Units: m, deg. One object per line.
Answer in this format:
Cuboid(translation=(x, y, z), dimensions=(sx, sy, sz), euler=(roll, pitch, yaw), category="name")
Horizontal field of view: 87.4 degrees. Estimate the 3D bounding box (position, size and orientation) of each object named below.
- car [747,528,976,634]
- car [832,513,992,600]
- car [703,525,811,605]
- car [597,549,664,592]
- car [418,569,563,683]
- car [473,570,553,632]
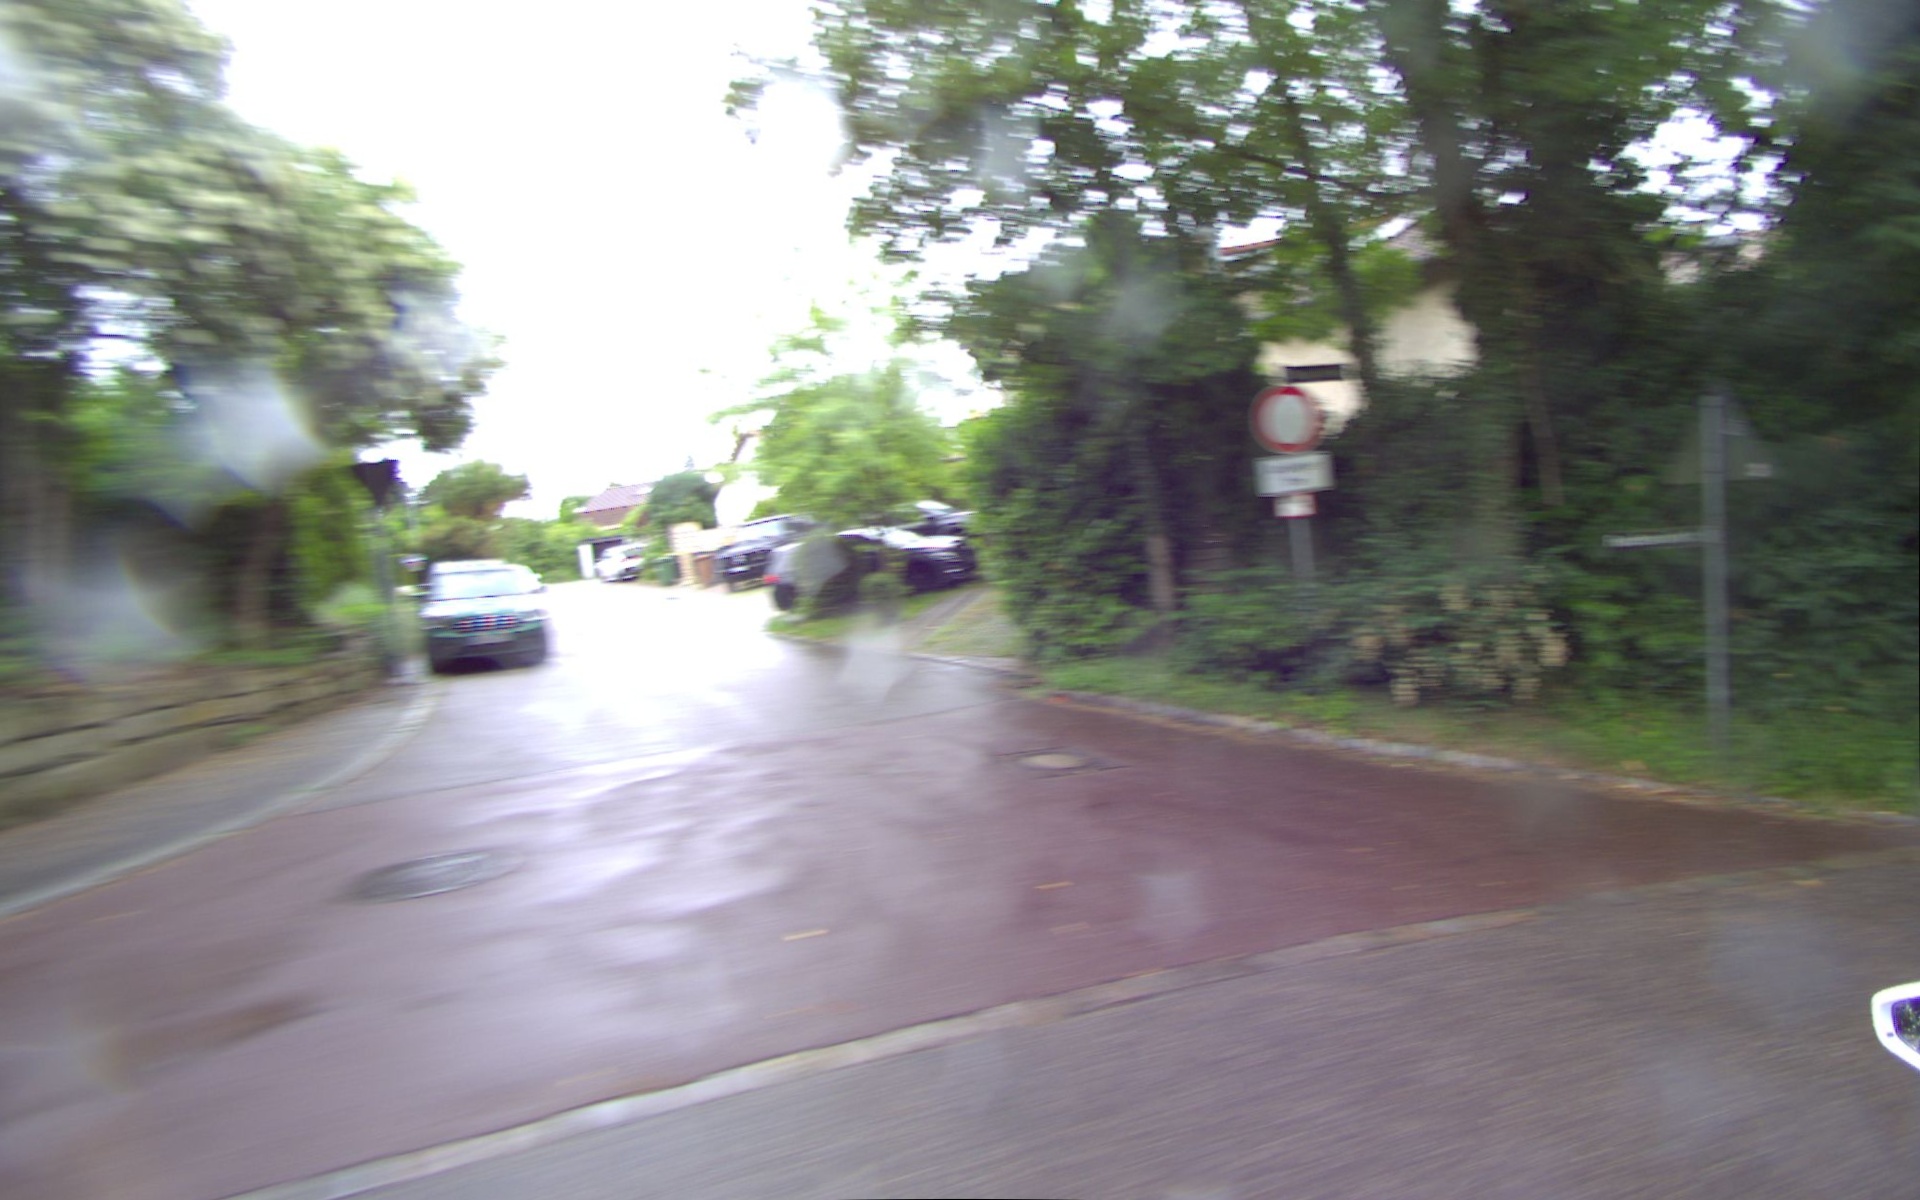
Cuboid(translation=(-1.857, -0.380, 19.419), dimensions=(3.922, 1.436, 1.699), euler=(-7, 6, 15), category="car")
Cuboid(translation=(-1.138, -1.056, 24.305), dimensions=(3.342, 1.596, 1.593), euler=(-6, 6, 18), category="car")
Cuboid(translation=(-5.989, -1.118, 30.158), dimensions=(1.858, 1.637, 4.000), euler=(-11, 7, 6), category="car")
Cuboid(translation=(-14.677, -1.258, 44.609), dimensions=(1.791, 1.774, 3.962), euler=(1, 0, -34), category="car")
Cuboid(translation=(-7.621, 0.313, 16.656), dimensions=(1.811, 1.482, 3.978), euler=(-6, 4, -21), category="car")
Cuboid(translation=(-12.069, 0.011, 27.042), dimensions=(1.814, 1.526, 3.974), euler=(-1, 0, -25), category="car")
